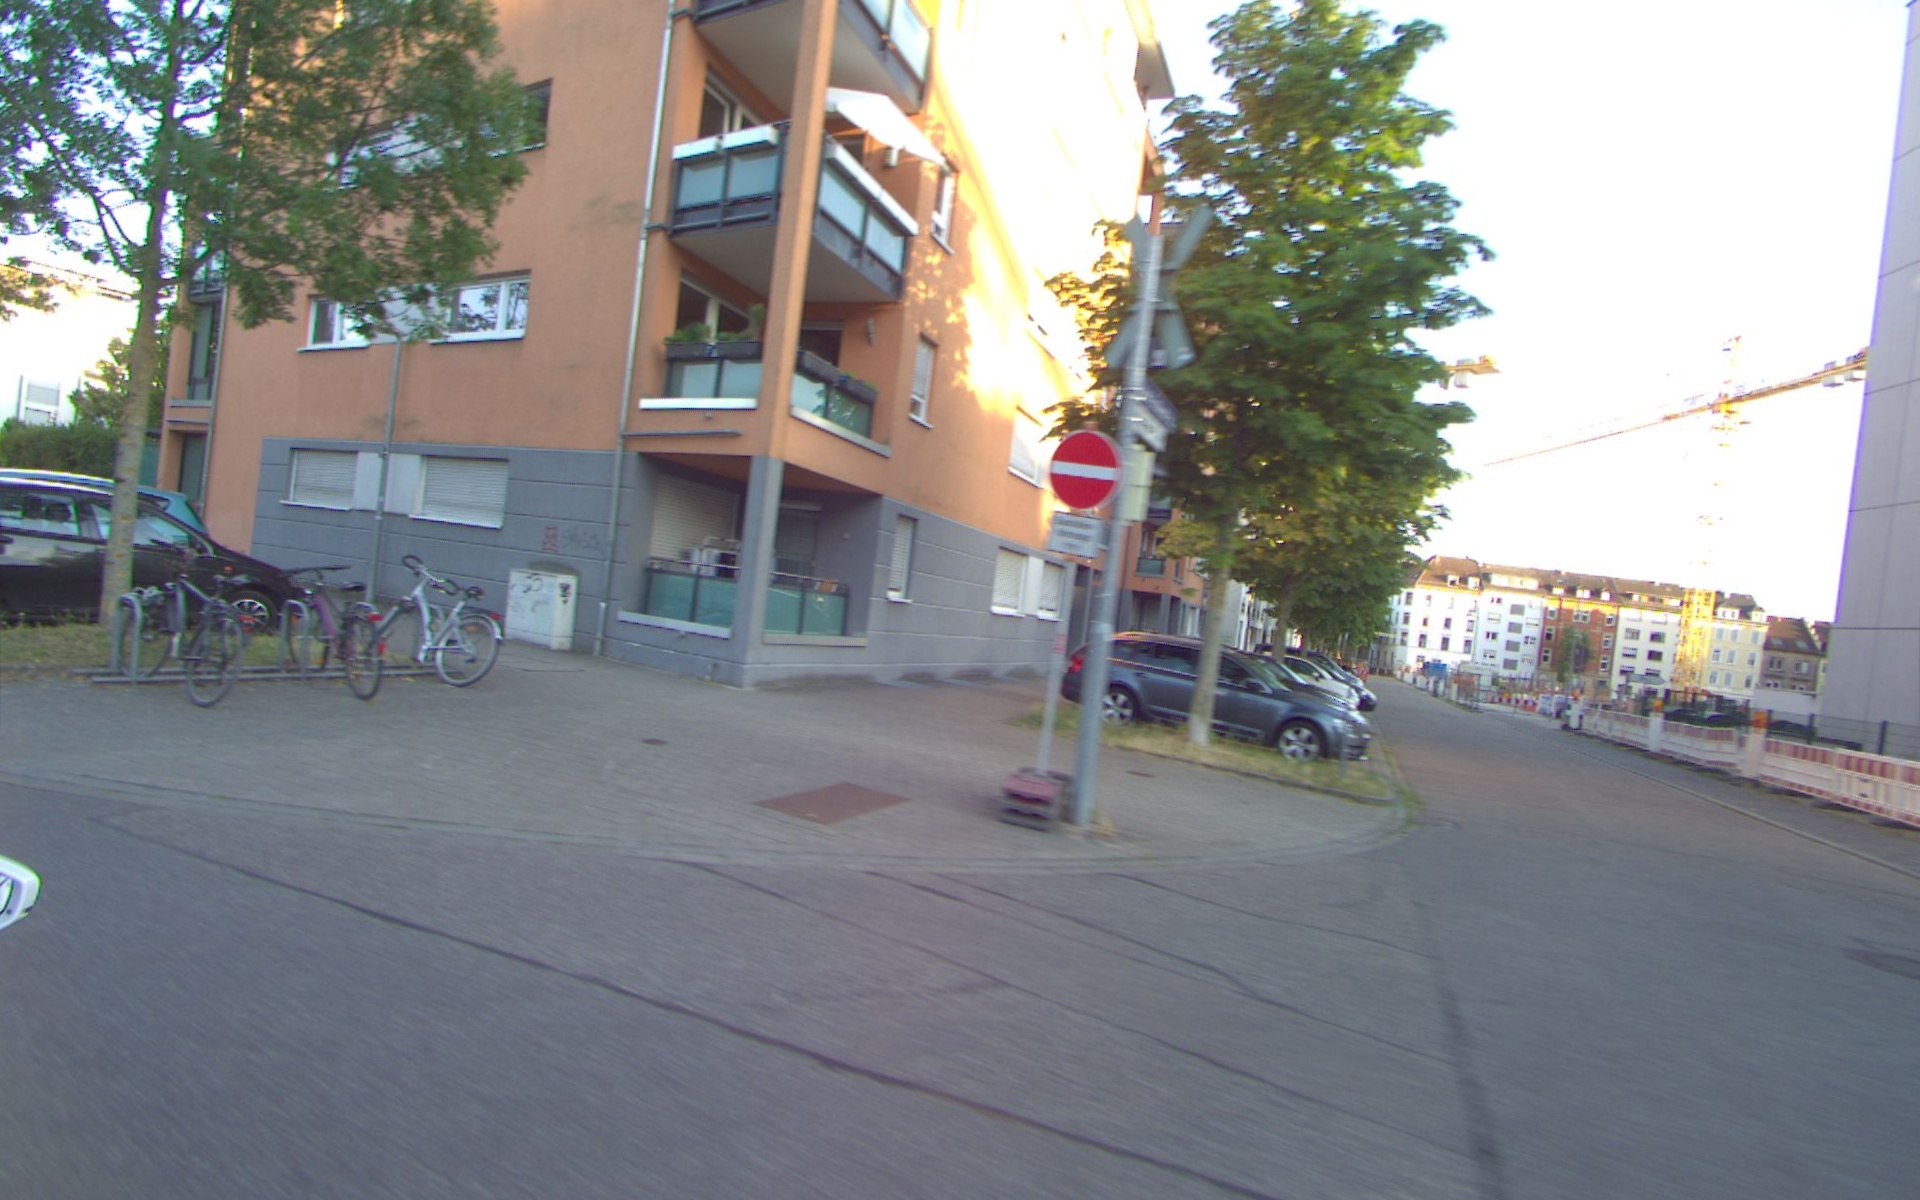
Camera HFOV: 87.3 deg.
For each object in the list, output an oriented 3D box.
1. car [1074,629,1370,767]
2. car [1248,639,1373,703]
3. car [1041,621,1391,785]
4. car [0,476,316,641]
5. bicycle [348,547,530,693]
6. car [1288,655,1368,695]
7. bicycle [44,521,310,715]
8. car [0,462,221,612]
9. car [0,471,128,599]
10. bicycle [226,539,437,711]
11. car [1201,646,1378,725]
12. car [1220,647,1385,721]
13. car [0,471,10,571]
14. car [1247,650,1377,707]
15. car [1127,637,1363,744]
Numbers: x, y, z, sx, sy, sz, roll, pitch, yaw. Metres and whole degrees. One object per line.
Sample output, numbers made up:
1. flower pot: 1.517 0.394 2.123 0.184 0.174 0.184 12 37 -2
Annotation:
1. car: 4.672 1.657 17.946 4.727 1.614 1.999 7 0 23
2. car: 15.008 3.011 43.167 4.726 2.009 2.000 7 0 21
3. car: 3.867 1.469 15.266 4.727 1.613 2.000 7 -1 23
4. car: -9.460 -0.461 10.935 1.585 1.491 3.758 7 0 27
5. bicycle: -5.172 0.180 9.941 1.929 1.140 0.530 9 0 30
6. car: 24.773 5.016 67.710 4.727 2.009 1.999 7 0 23
7. bicycle: -6.087 0.114 7.812 1.863 1.168 0.718 9 3 22
8. car: -11.418 -0.829 11.789 1.645 1.589 4.052 7 1 32
9. car: -13.703 -1.039 13.211 1.593 1.588 3.881 7 0 32
10. bicycle: -5.454 0.182 8.688 1.895 1.168 0.679 9 3 30
11. car: 9.837 2.493 30.156 4.726 1.614 2.000 7 0 21
12. car: 10.932 2.633 32.240 4.726 1.614 2.000 7 0 21
13. car: -16.166 -1.392 14.132 1.514 1.513 3.778 5 -2 32
14. car: 14.270 3.138 40.905 4.726 1.614 2.000 7 0 21
15. car: 6.403 1.958 22.615 4.727 1.614 1.999 7 0 23
